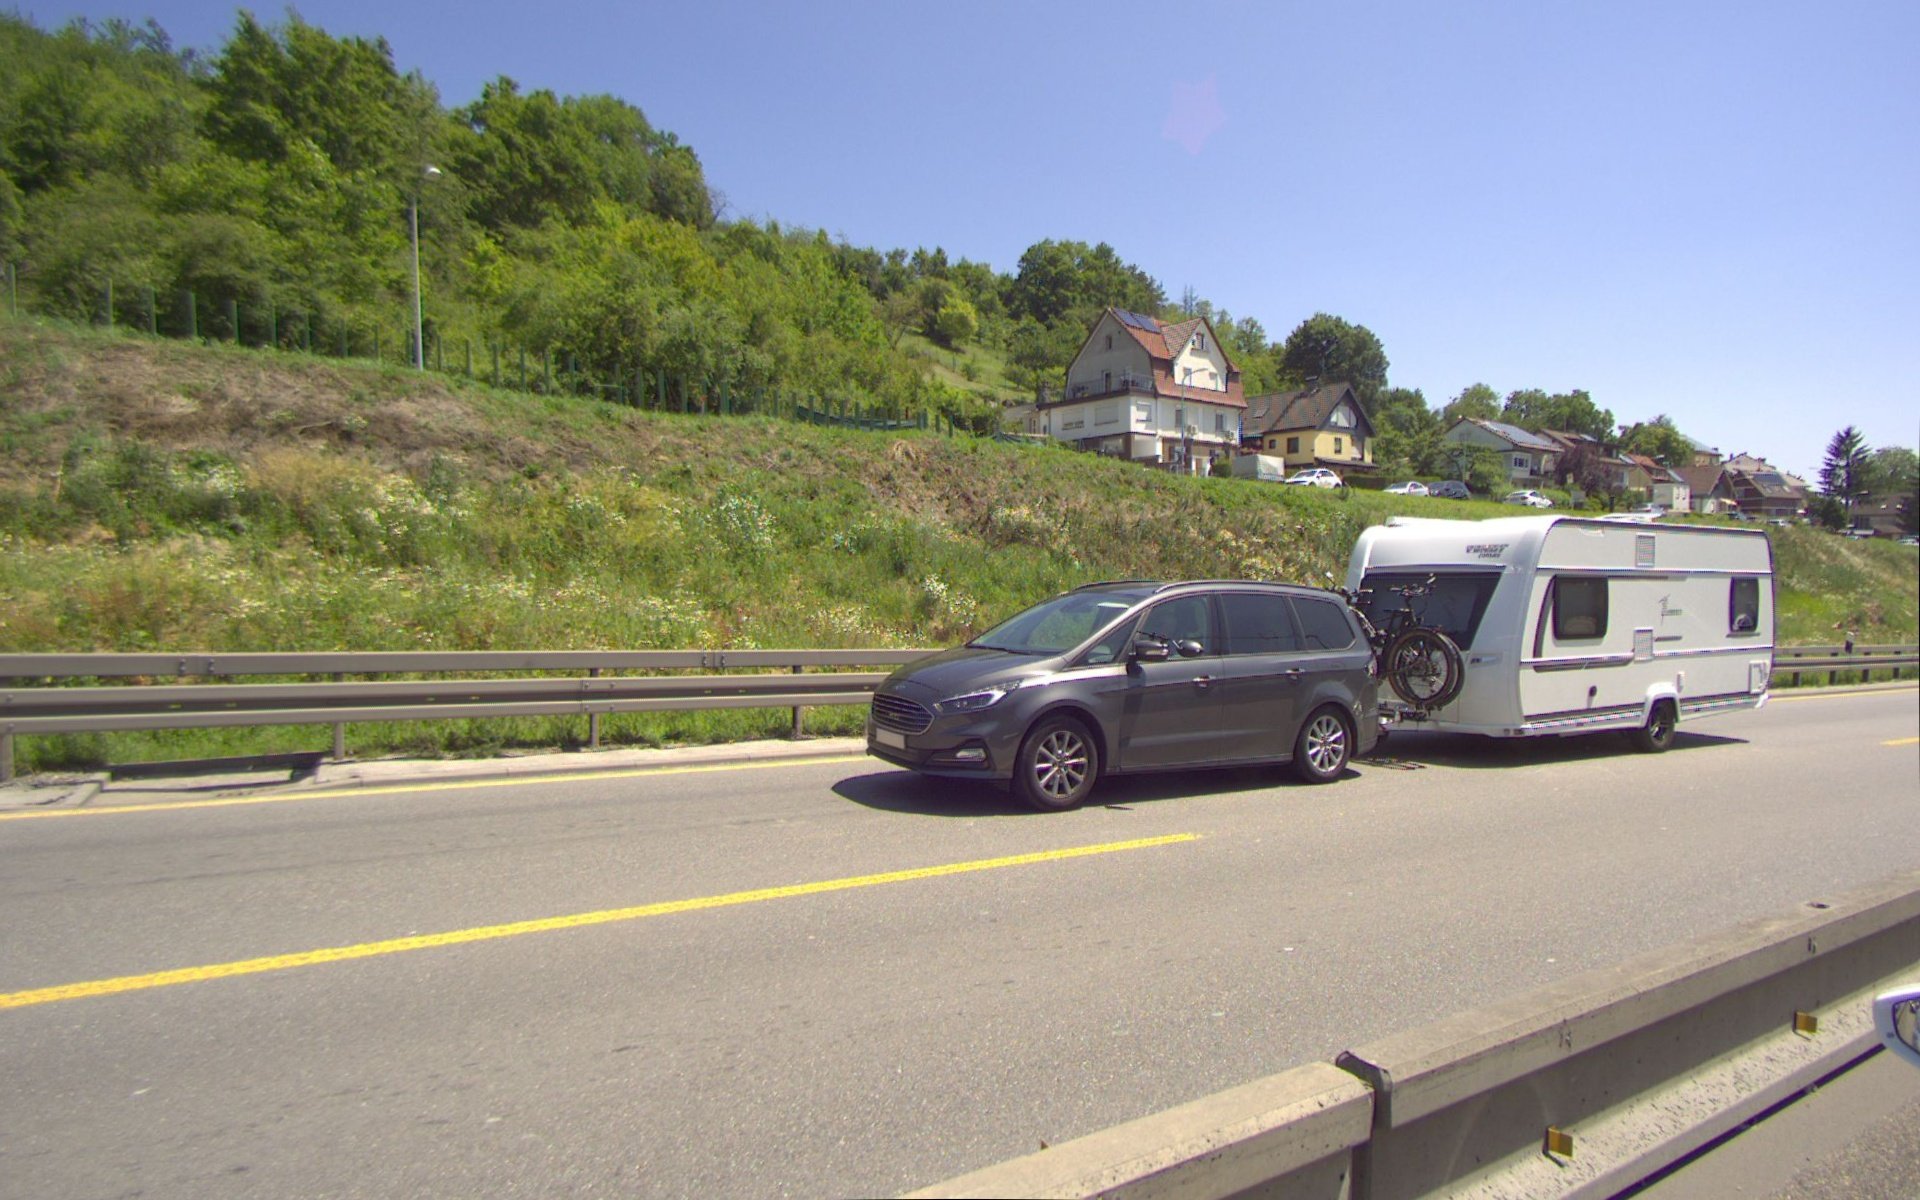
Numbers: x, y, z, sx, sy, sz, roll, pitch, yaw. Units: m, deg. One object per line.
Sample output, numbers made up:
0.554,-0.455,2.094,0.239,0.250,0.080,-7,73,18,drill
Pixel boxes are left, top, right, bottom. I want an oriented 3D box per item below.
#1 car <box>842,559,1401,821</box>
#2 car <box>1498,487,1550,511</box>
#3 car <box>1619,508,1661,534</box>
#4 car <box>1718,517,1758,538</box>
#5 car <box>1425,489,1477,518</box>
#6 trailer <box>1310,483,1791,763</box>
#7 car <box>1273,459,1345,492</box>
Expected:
1.484,0.631,8.620,4.593,1.735,1.868,1,0,-30,car
40.217,-7.170,71.636,3.970,1.337,1.975,2,4,-42,car
55.929,-6.439,82.562,3.969,1.751,1.908,1,0,-42,car
75.146,-6.988,96.952,3.955,1.751,1.745,1,0,-31,car
31.259,-6.104,63.910,3.968,1.438,1.577,1,0,-41,car
7.196,0.329,12.073,5.799,2.648,2.473,2,-1,-30,trailer
19.079,-6.767,54.846,3.970,1.337,1.975,2,4,-42,car
